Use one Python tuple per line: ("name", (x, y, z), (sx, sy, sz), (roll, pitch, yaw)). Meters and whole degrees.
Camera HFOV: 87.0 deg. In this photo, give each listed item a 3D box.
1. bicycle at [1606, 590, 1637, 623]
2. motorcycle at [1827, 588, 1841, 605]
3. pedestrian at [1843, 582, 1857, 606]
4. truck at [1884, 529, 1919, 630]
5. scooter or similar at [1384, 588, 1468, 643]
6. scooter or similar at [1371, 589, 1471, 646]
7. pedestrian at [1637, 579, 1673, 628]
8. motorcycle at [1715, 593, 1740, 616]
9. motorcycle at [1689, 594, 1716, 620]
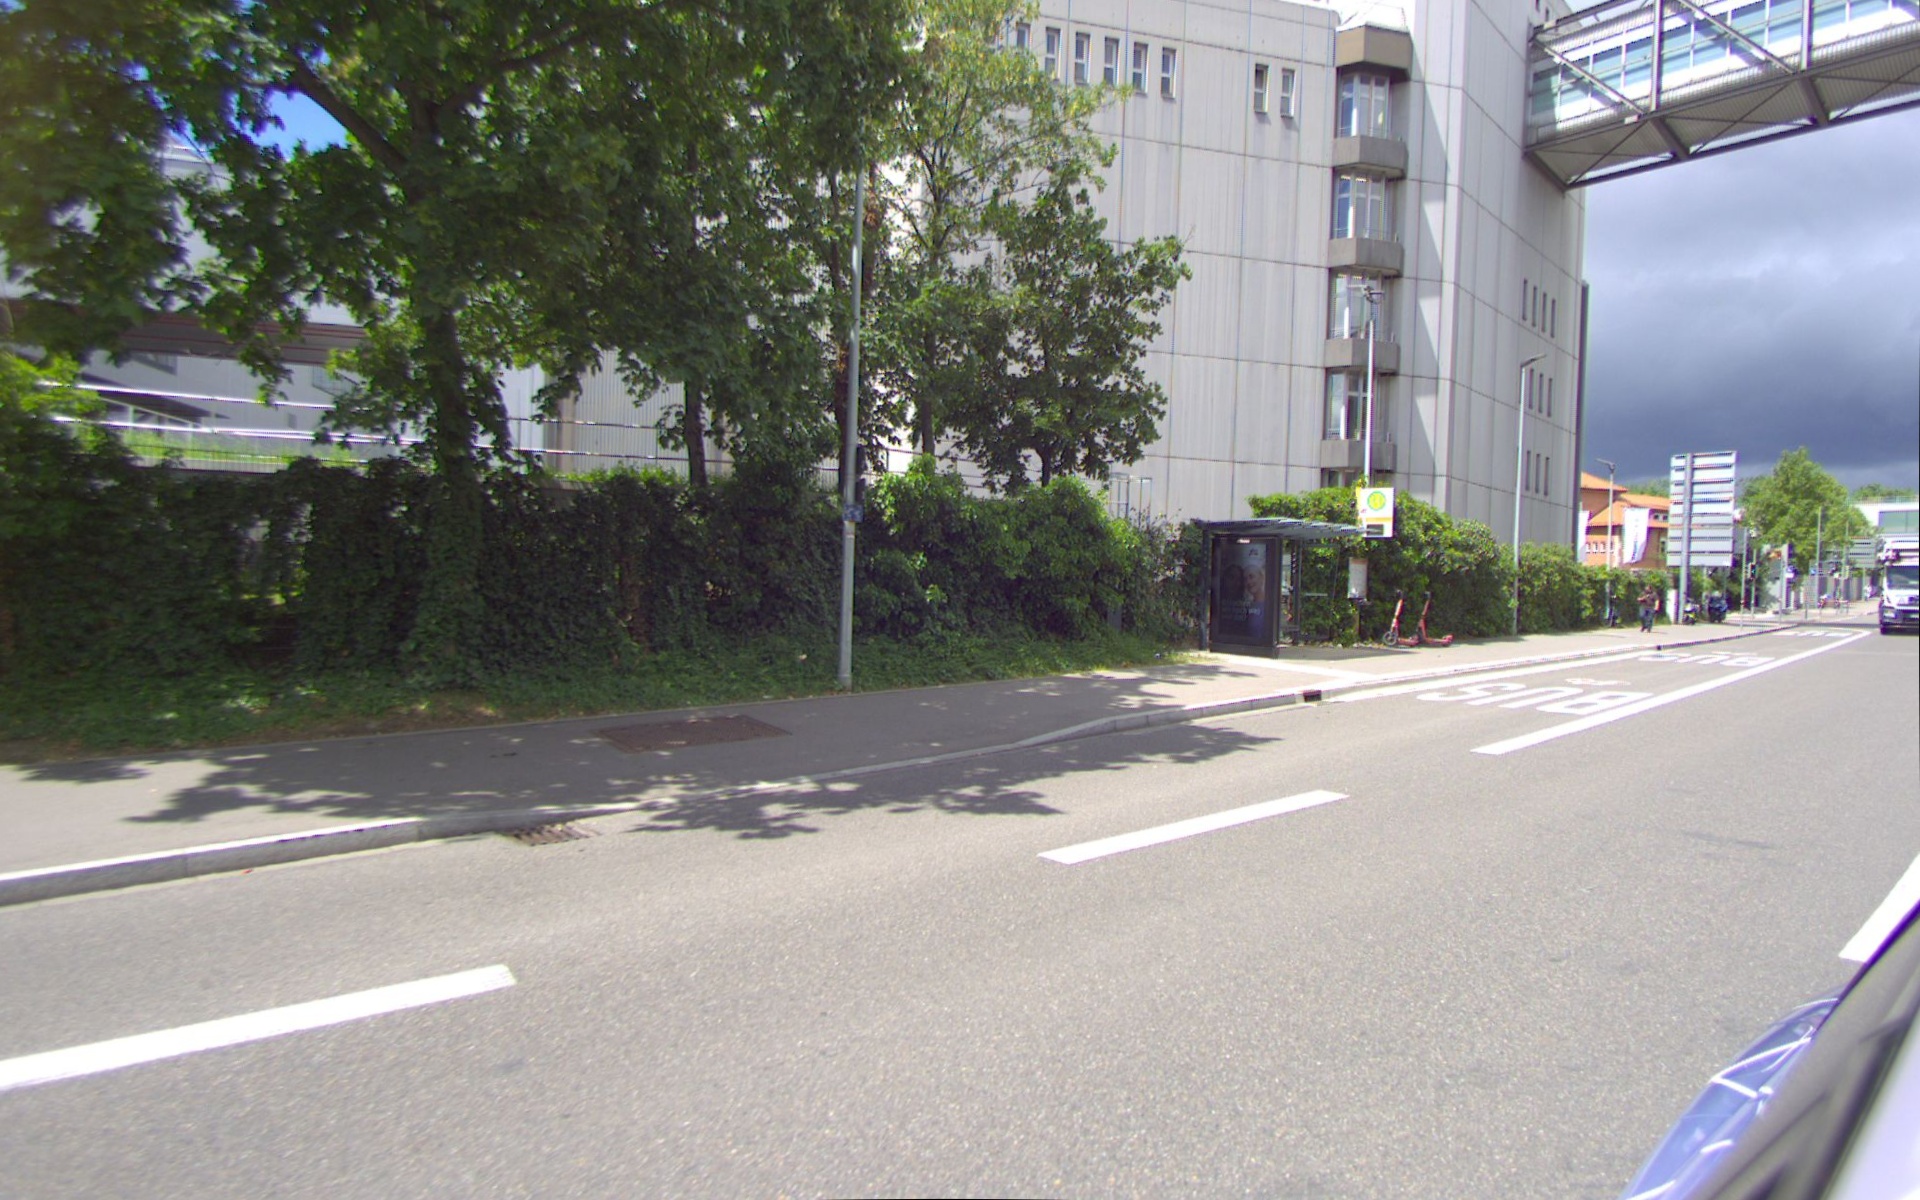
("bicycle", (24.531, 0.229, 37.511), (2.428, 1.195, 0.443), (-1, 1, -44))
("motorcycle", (67.916, -0.274, 78.668), (2.139, 1.241, 0.570), (-1, 3, -43))
("pedestrian", (68.629, -0.474, 78.046), (0.999, 1.788, 0.728), (-1, 1, -43))
("truck", (41.487, -0.860, 42.825), (10.561, 3.934, 2.709), (-1, 1, -43))
("scooter or similar", (10.505, 0.349, 22.828), (1.754, 1.177, 0.544), (1, 2, -16))
("scooter or similar", (10.080, 0.381, 22.117), (2.082, 1.177, 0.544), (1, 2, -16))
("pedestrian", (24.528, 0.123, 35.734), (0.981, 1.665, 0.810), (-1, 3, -45))
("motorcycle", (36.636, 0.208, 48.320), (2.003, 1.080, 0.591), (0, 3, -44))
("motorcycle", (32.484, 0.307, 44.267), (2.003, 1.080, 0.591), (0, 3, -44))
